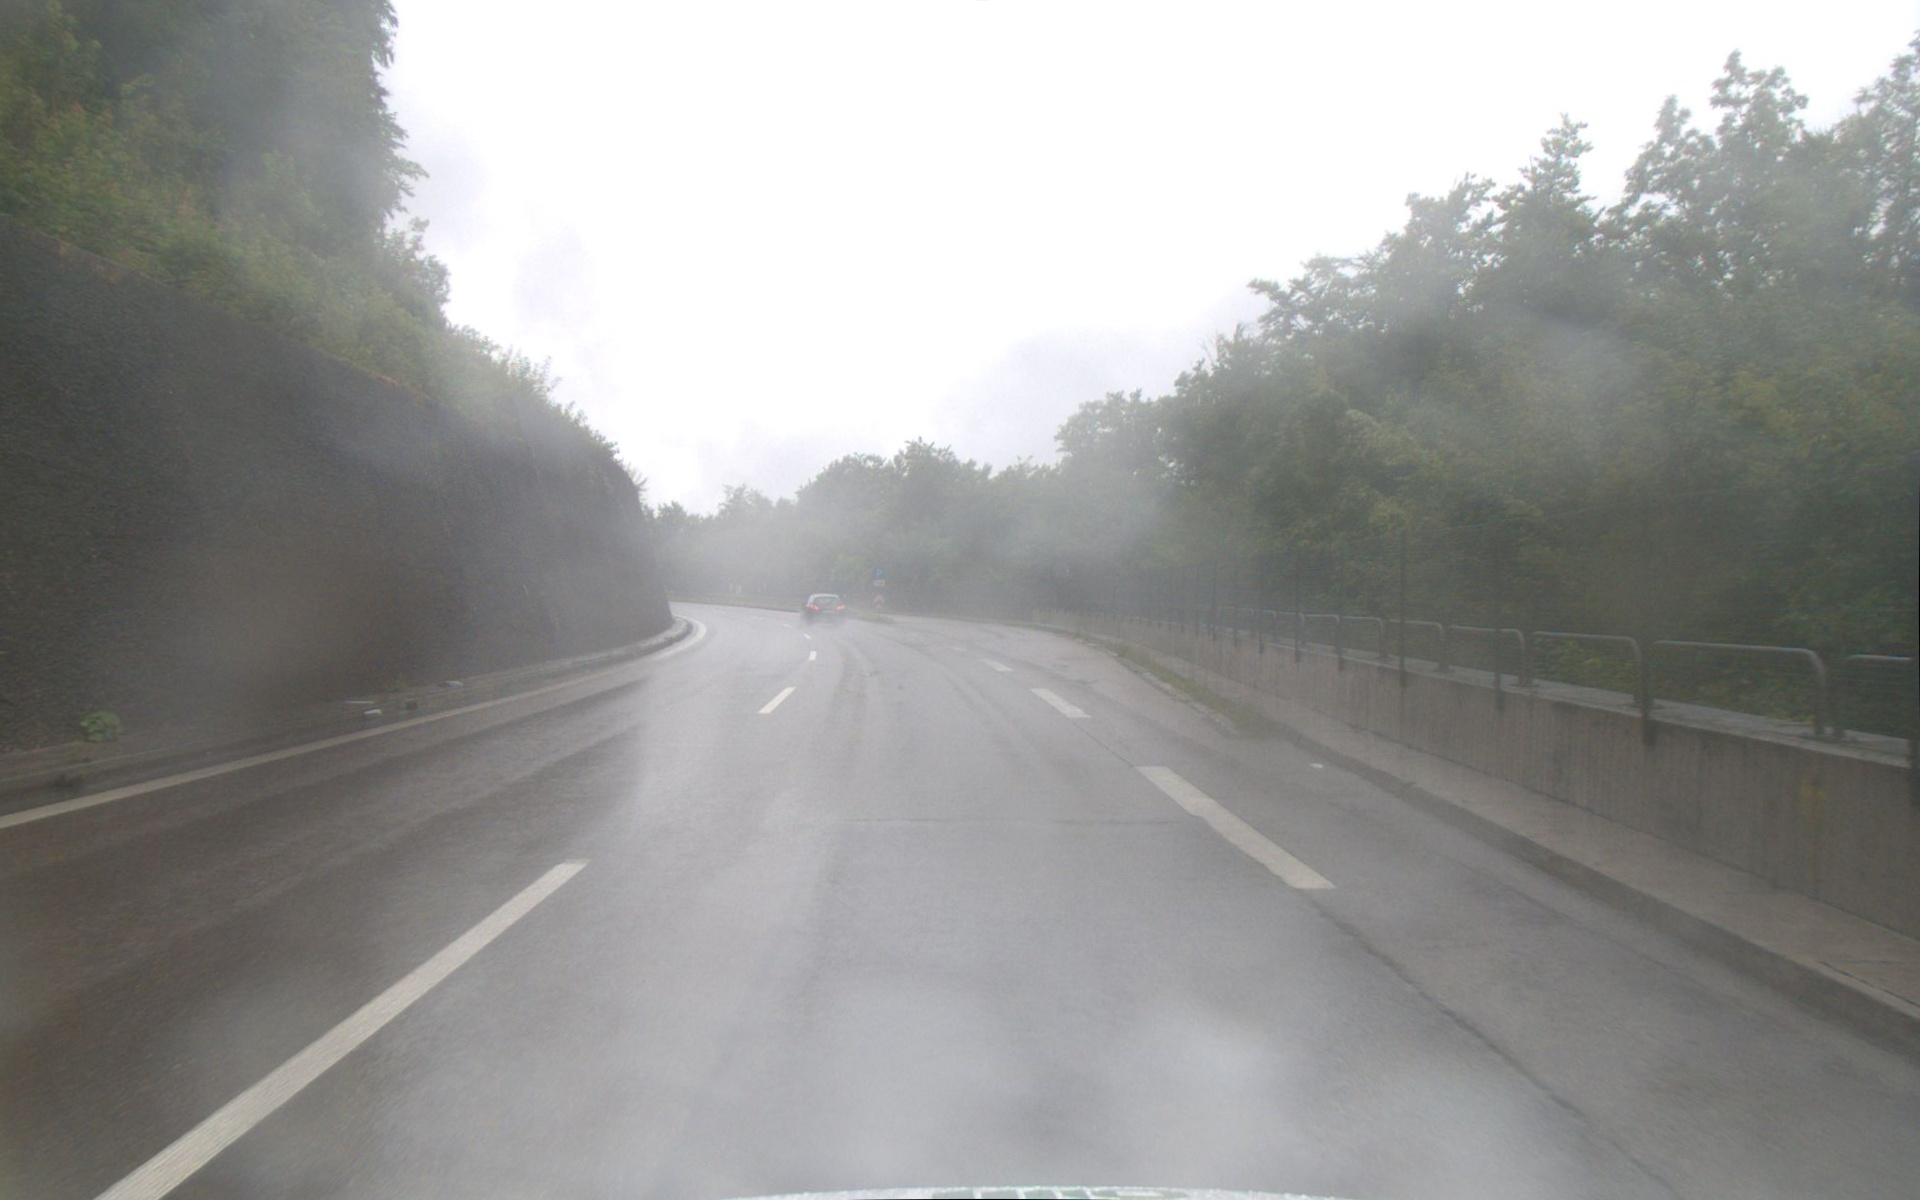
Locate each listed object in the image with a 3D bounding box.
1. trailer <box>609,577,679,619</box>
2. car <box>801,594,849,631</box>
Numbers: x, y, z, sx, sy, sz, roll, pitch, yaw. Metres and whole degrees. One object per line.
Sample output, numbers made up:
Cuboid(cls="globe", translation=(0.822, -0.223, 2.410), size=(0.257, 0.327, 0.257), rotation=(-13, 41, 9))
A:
Cuboid(cls="trailer", translation=(-34.330, -0.275, 179.202), size=(2.861, 4.319, 14.551), rotation=(1, 0, -30))
Cuboid(cls="car", translation=(-6.155, 0.537, 75.099), size=(1.868, 1.525, 3.993), rotation=(3, 0, -8))
